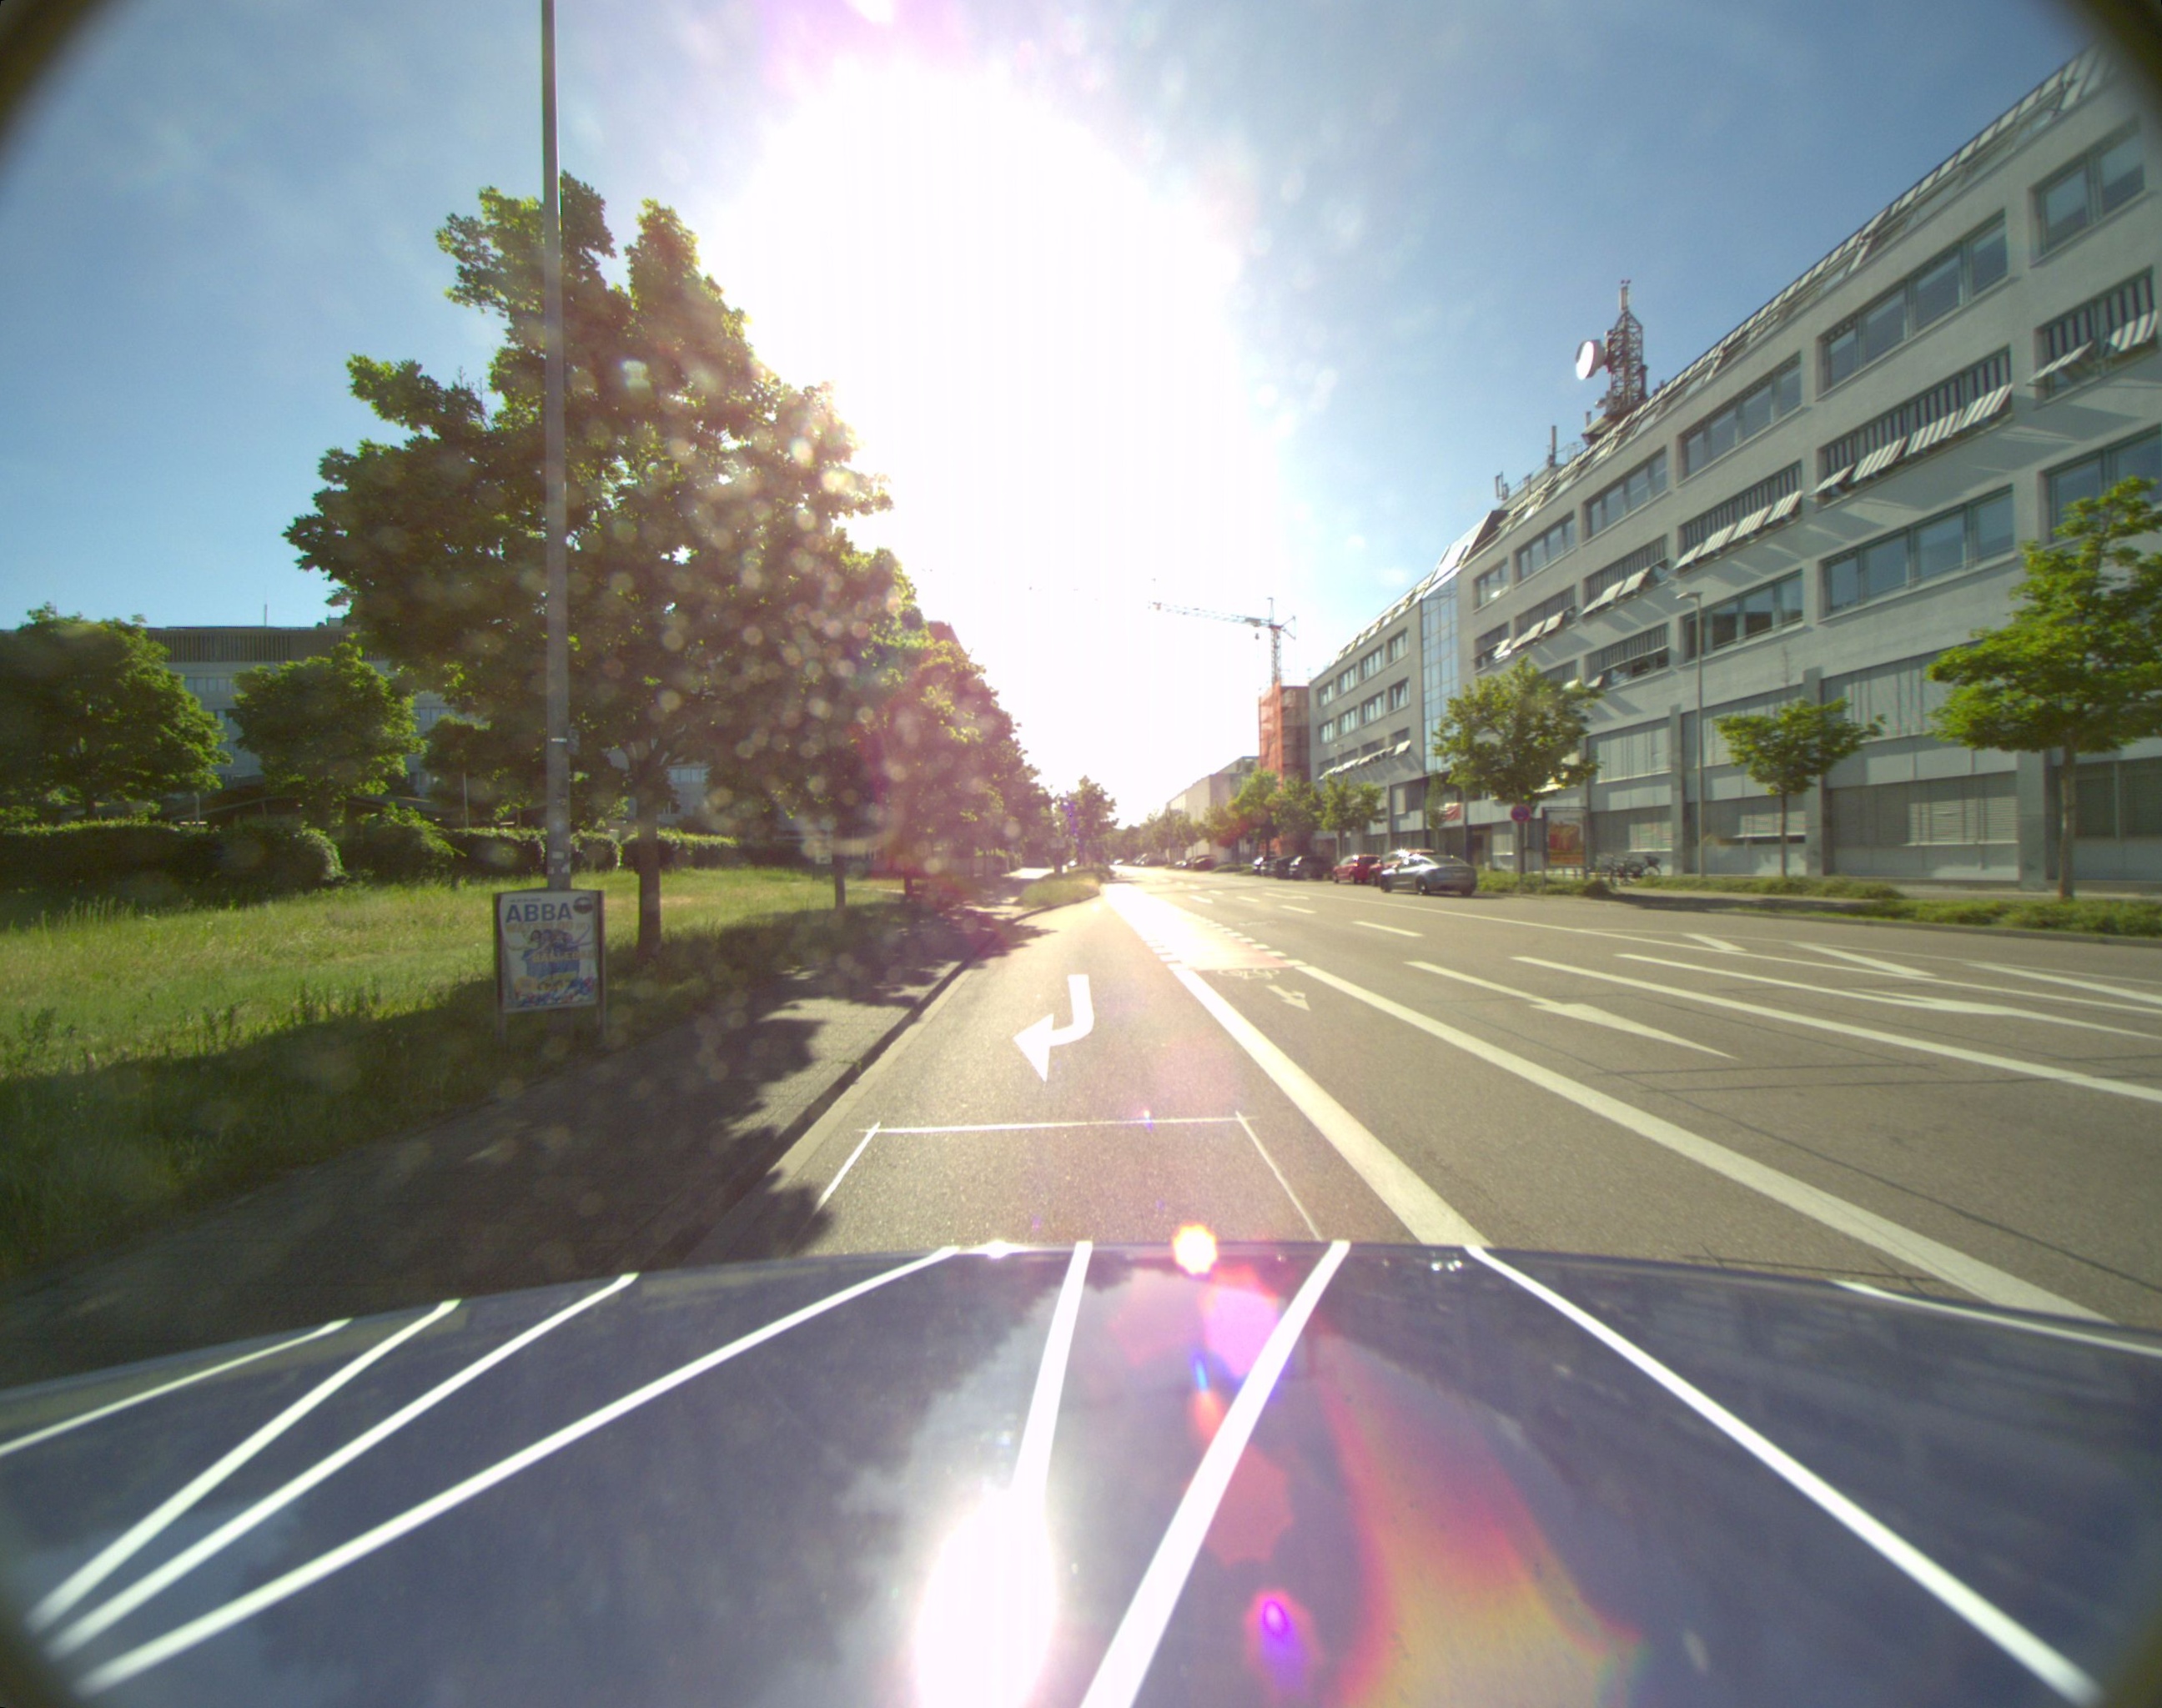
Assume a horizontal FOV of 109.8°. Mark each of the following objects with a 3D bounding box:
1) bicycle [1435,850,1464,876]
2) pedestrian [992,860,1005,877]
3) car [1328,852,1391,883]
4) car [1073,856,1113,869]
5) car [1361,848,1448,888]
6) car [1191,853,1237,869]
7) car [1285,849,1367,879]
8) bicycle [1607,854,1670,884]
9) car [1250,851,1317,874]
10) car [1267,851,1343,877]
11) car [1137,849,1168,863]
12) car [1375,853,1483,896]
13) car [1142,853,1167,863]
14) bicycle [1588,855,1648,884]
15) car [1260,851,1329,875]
[{"bbox_3d":[20.116,0.473,41.515,0.710,1.339,2.233,0,0,5],"label":"bicycle"},{"bbox_3d":[-5.942,1.024,54.959,0.847,1.210,0.728,0,0,-13],"label":"pedestrian"},{"bbox_3d":[14.246,0.645,39.088,1.692,1.423,3.871,-3,0,0],"label":"car"},{"bbox_3d":[1.329,0.929,84.794,4.413,1.454,1.895,0,0,0],"label":"car"},{"bbox_3d":[14.414,0.586,34.148,1.693,1.597,4.309,-3,0,-5],"label":"car"},{"bbox_3d":[14.035,0.699,80.126,4.398,1.423,1.977,-3,0,-4],"label":"car"},{"bbox_3d":[14.989,0.602,46.578,4.398,1.529,1.693,-3,0,-5],"label":"car"},{"bbox_3d":[20.307,0.544,27.701,1.792,1.063,0.622,0,0,7],"label":"bicycle"},{"bbox_3d":[14.917,0.595,56.043,4.397,1.423,1.693,-3,0,-2],"label":"car"},{"bbox_3d":[14.611,0.665,49.625,4.397,1.423,1.693,-3,0,-3],"label":"car"},{"bbox_3d":[13.615,0.406,145.340,5.583,2.468,2.010,-3,0,2],"label":"car"},{"bbox_3d":[12.649,0.697,27.979,1.693,1.460,4.546,0,0,-4],"label":"car"},{"bbox_3d":[13.723,0.763,141.995,4.315,1.505,1.693,-3,0,-1],"label":"car"},{"bbox_3d":[20.120,0.562,28.474,1.770,1.063,0.556,0,0,7],"label":"bicycle"},{"bbox_3d":[15.099,0.599,53.868,4.397,1.423,1.693,-3,0,-3],"label":"car"}]
